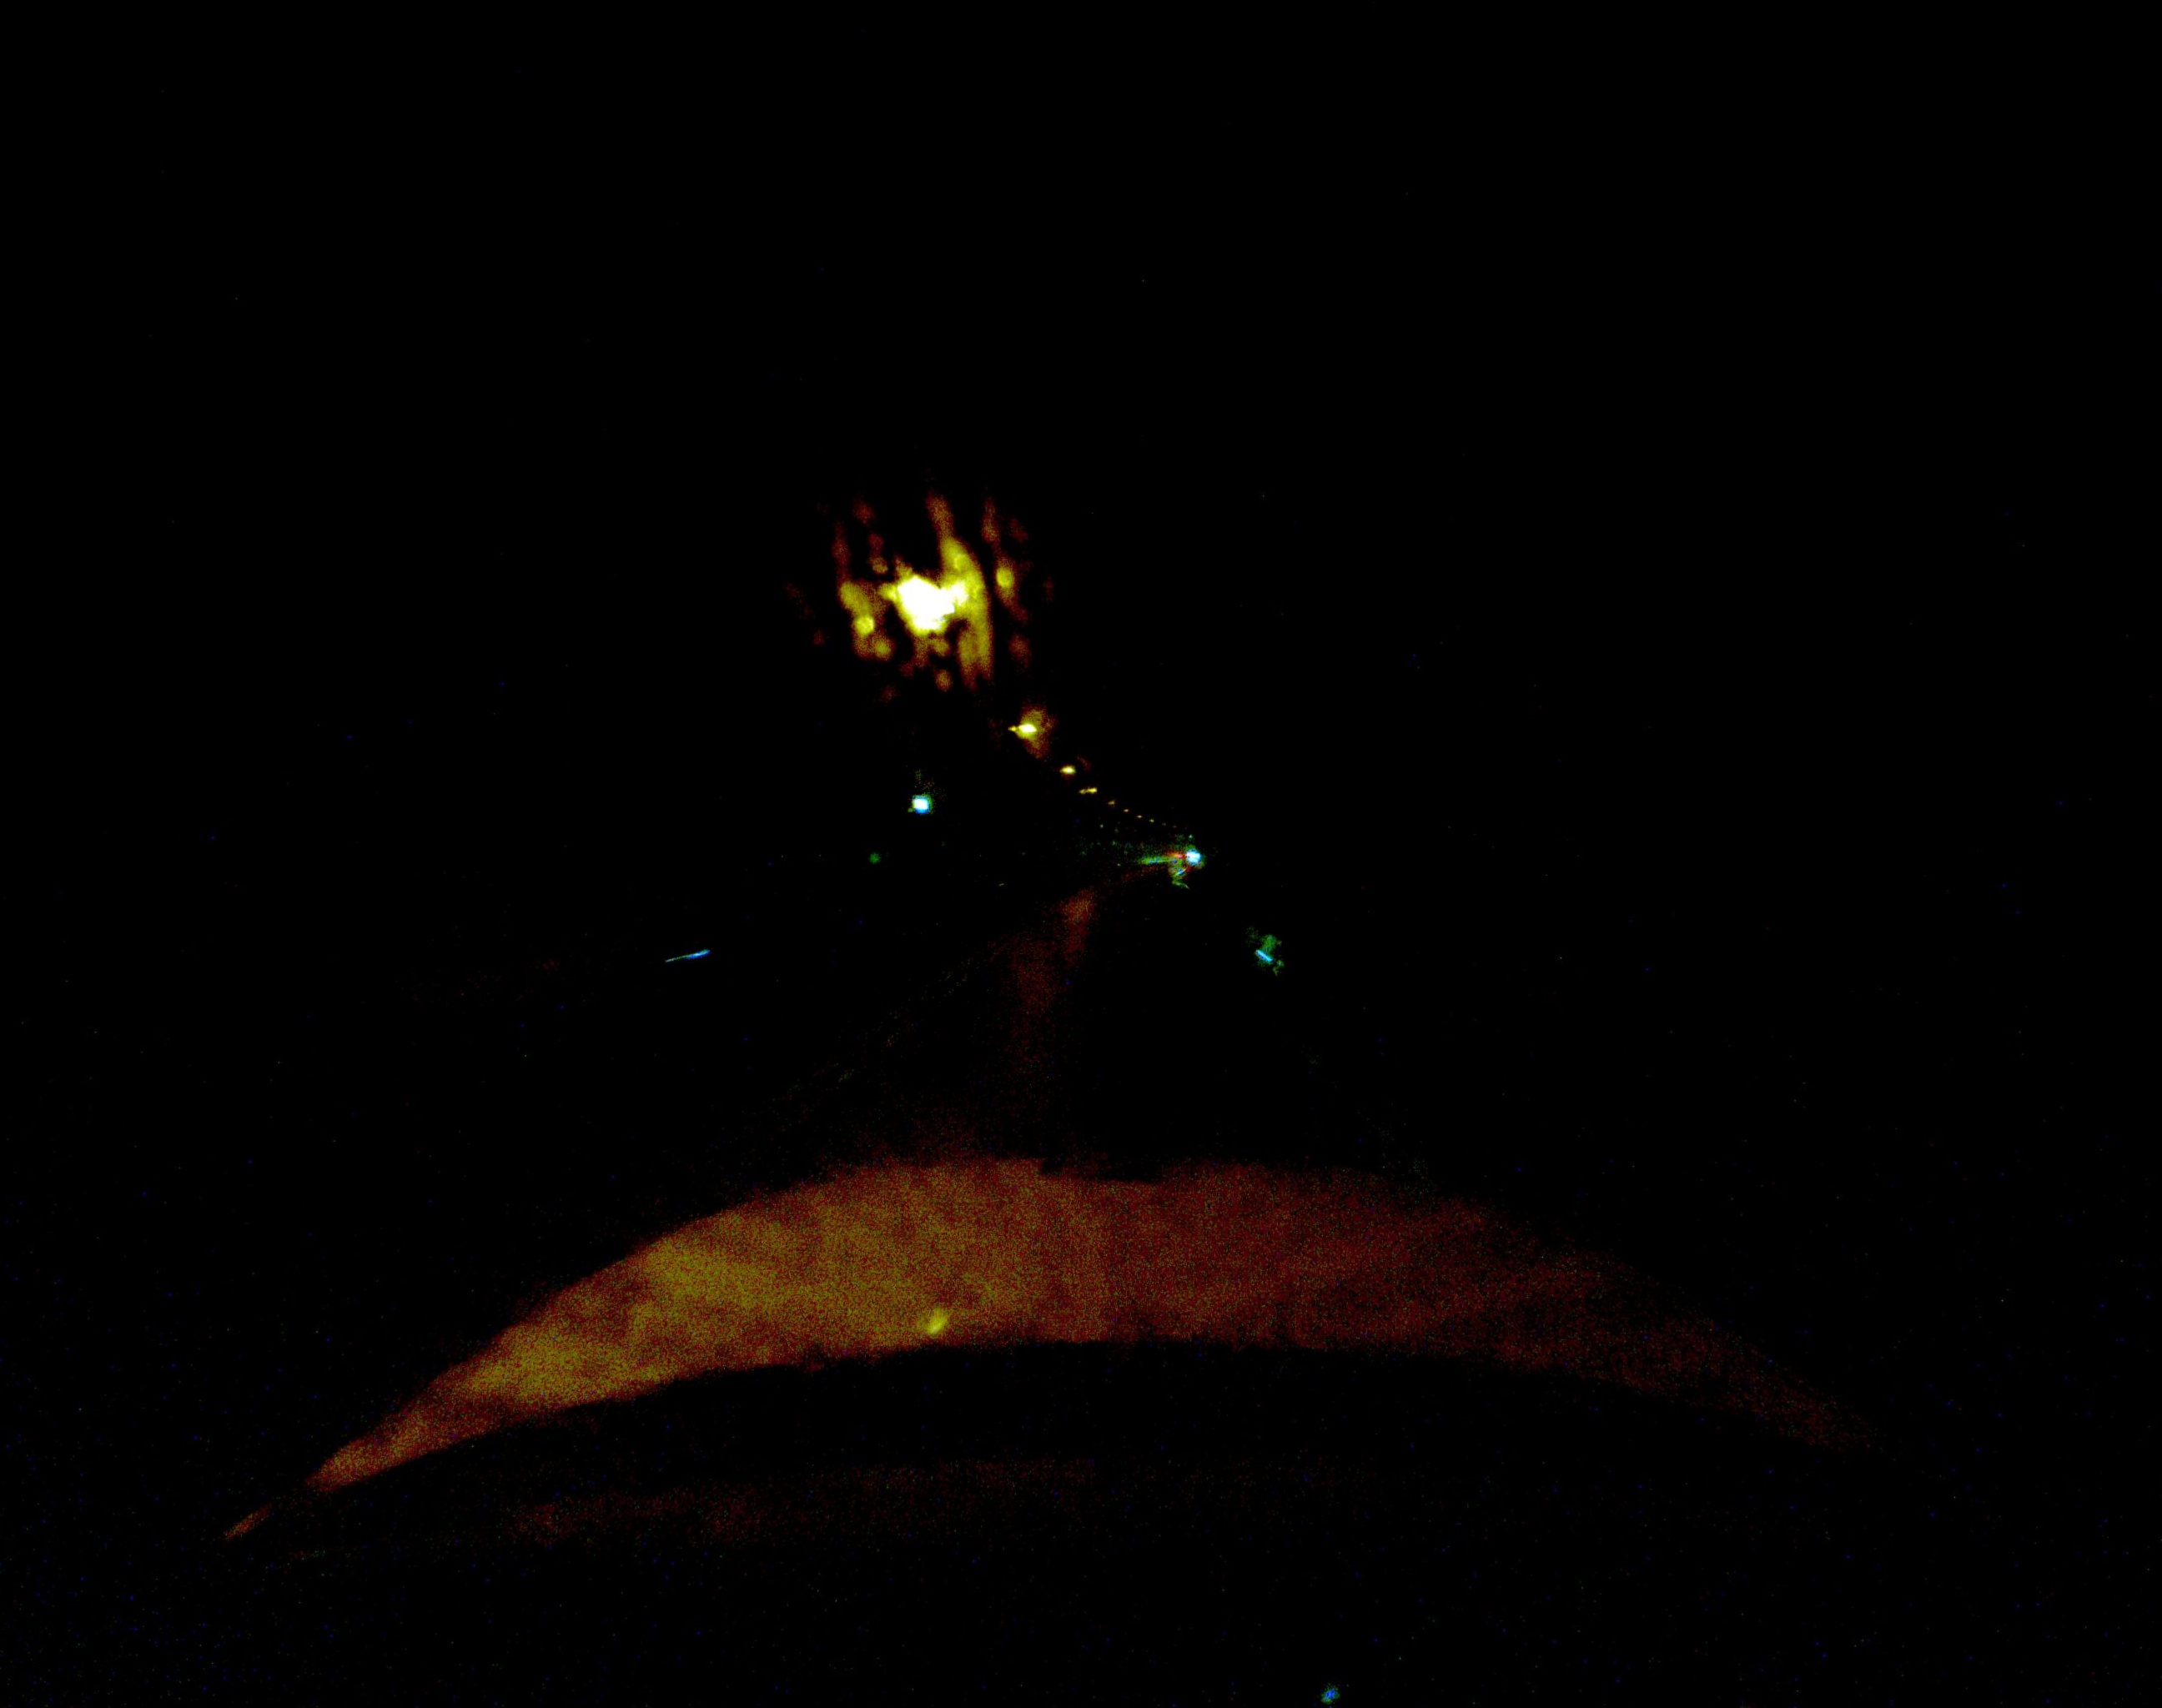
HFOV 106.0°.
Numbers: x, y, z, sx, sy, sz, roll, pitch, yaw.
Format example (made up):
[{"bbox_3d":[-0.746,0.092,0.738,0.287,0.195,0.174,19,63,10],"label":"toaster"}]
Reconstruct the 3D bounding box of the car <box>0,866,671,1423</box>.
[{"bbox_3d":[-3.610,0.775,2.999,1.706,1.378,4.588,1,0,2],"label":"car"}]

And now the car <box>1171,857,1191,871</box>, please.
[{"bbox_3d":[12.196,1.256,99.120,1.979,1.650,4.015,0,0,14],"label":"car"}]

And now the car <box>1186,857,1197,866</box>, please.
[{"bbox_3d":[19.263,1.314,141.980,1.618,1.447,3.941,0,0,4],"label":"car"}]
